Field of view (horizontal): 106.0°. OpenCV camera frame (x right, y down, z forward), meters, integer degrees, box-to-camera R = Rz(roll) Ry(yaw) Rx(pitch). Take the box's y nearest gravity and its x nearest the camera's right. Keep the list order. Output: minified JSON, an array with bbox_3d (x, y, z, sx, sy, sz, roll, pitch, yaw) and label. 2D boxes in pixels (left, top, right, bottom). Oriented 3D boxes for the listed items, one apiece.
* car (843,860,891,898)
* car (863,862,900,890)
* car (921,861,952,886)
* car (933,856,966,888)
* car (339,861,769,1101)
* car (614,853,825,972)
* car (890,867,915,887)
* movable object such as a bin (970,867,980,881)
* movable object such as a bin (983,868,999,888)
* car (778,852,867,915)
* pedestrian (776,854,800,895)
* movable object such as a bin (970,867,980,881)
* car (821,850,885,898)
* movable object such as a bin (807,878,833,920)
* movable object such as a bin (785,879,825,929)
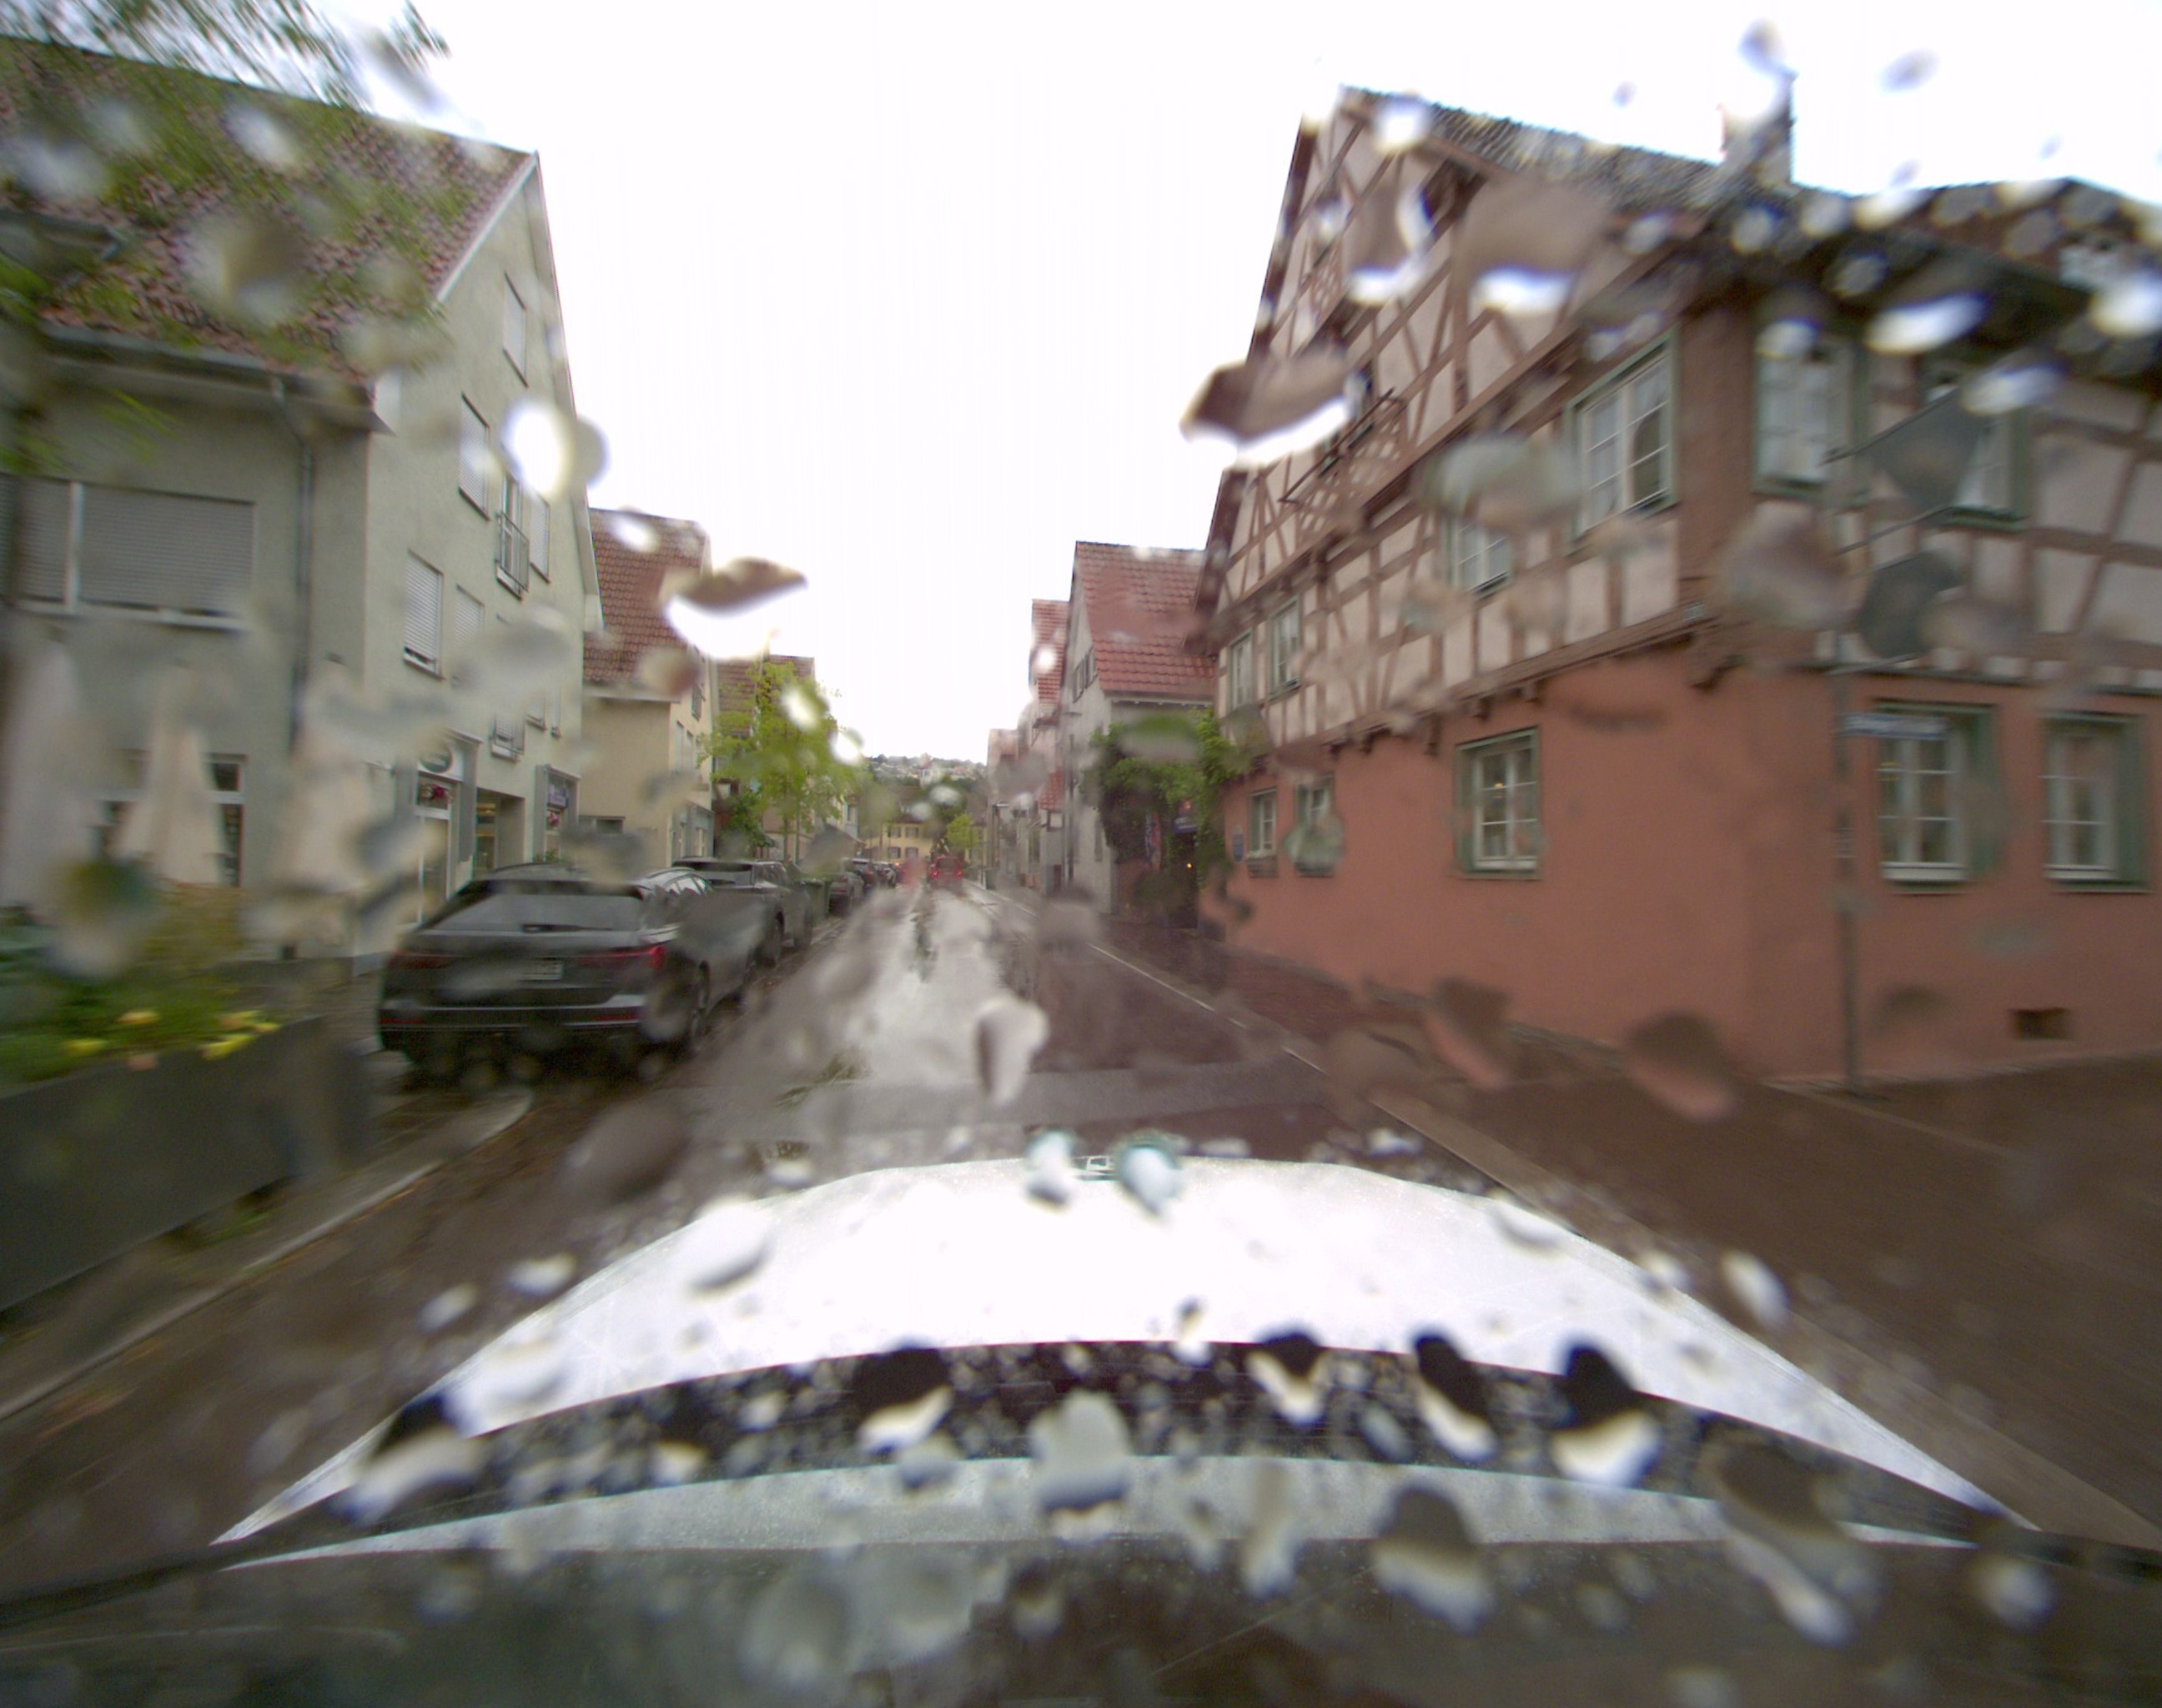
[{"bbox_3d":[-9.666,1.104,36.985,1.781,1.538,4.273,2,-1,-11],"label":"car"},{"bbox_3d":[-11.624,1.258,47.721,1.691,1.538,4.108,2,-1,-8],"label":"car"},{"bbox_3d":[-10.929,1.514,61.369,1.996,1.800,3.980,1,-3,-14],"label":"car"},{"bbox_3d":[-8.082,1.083,50.126,1.893,1.811,3.988,2,-1,-9],"label":"car"},{"bbox_3d":[-4.116,0.798,7.380,1.865,1.442,4.596,1,-1,-14],"label":"car"},{"bbox_3d":[-5.419,0.815,12.883,1.861,1.524,4.315,2,-1,-8],"label":"car"},{"bbox_3d":[-13.903,1.746,63.617,1.691,1.443,3.872,1,-1,-9],"label":"car"},{"bbox_3d":[-8.473,1.595,65.275,0.768,1.080,0.597,1,-3,-10],"label":"movable object such as a bin"},{"bbox_3d":[-4.845,1.313,43.966,0.793,1.081,0.612,0,-2,-13],"label":"movable object such as a bin"},{"bbox_3d":[-7.514,0.906,24.097,1.824,1.667,4.625,1,-3,-10],"label":"car"},{"bbox_3d":[-12.366,0.873,34.373,0.789,1.682,1.171,1,-3,-13],"label":"pedestrian"},{"bbox_3d":[-8.601,1.640,66.000,0.754,1.064,0.598,1,-3,-10],"label":"movable object such as a bin"},{"bbox_3d":[-8.588,0.822,31.089,1.824,1.667,4.626,1,-3,-10],"label":"car"},{"bbox_3d":[-6.638,1.145,20.716,0.552,1.046,0.532,1,-3,-14],"label":"movable object such as a bin"},{"bbox_3d":[-6.215,1.124,18.397,0.747,1.083,0.741,1,-3,-13],"label":"movable object such as a bin"}]
